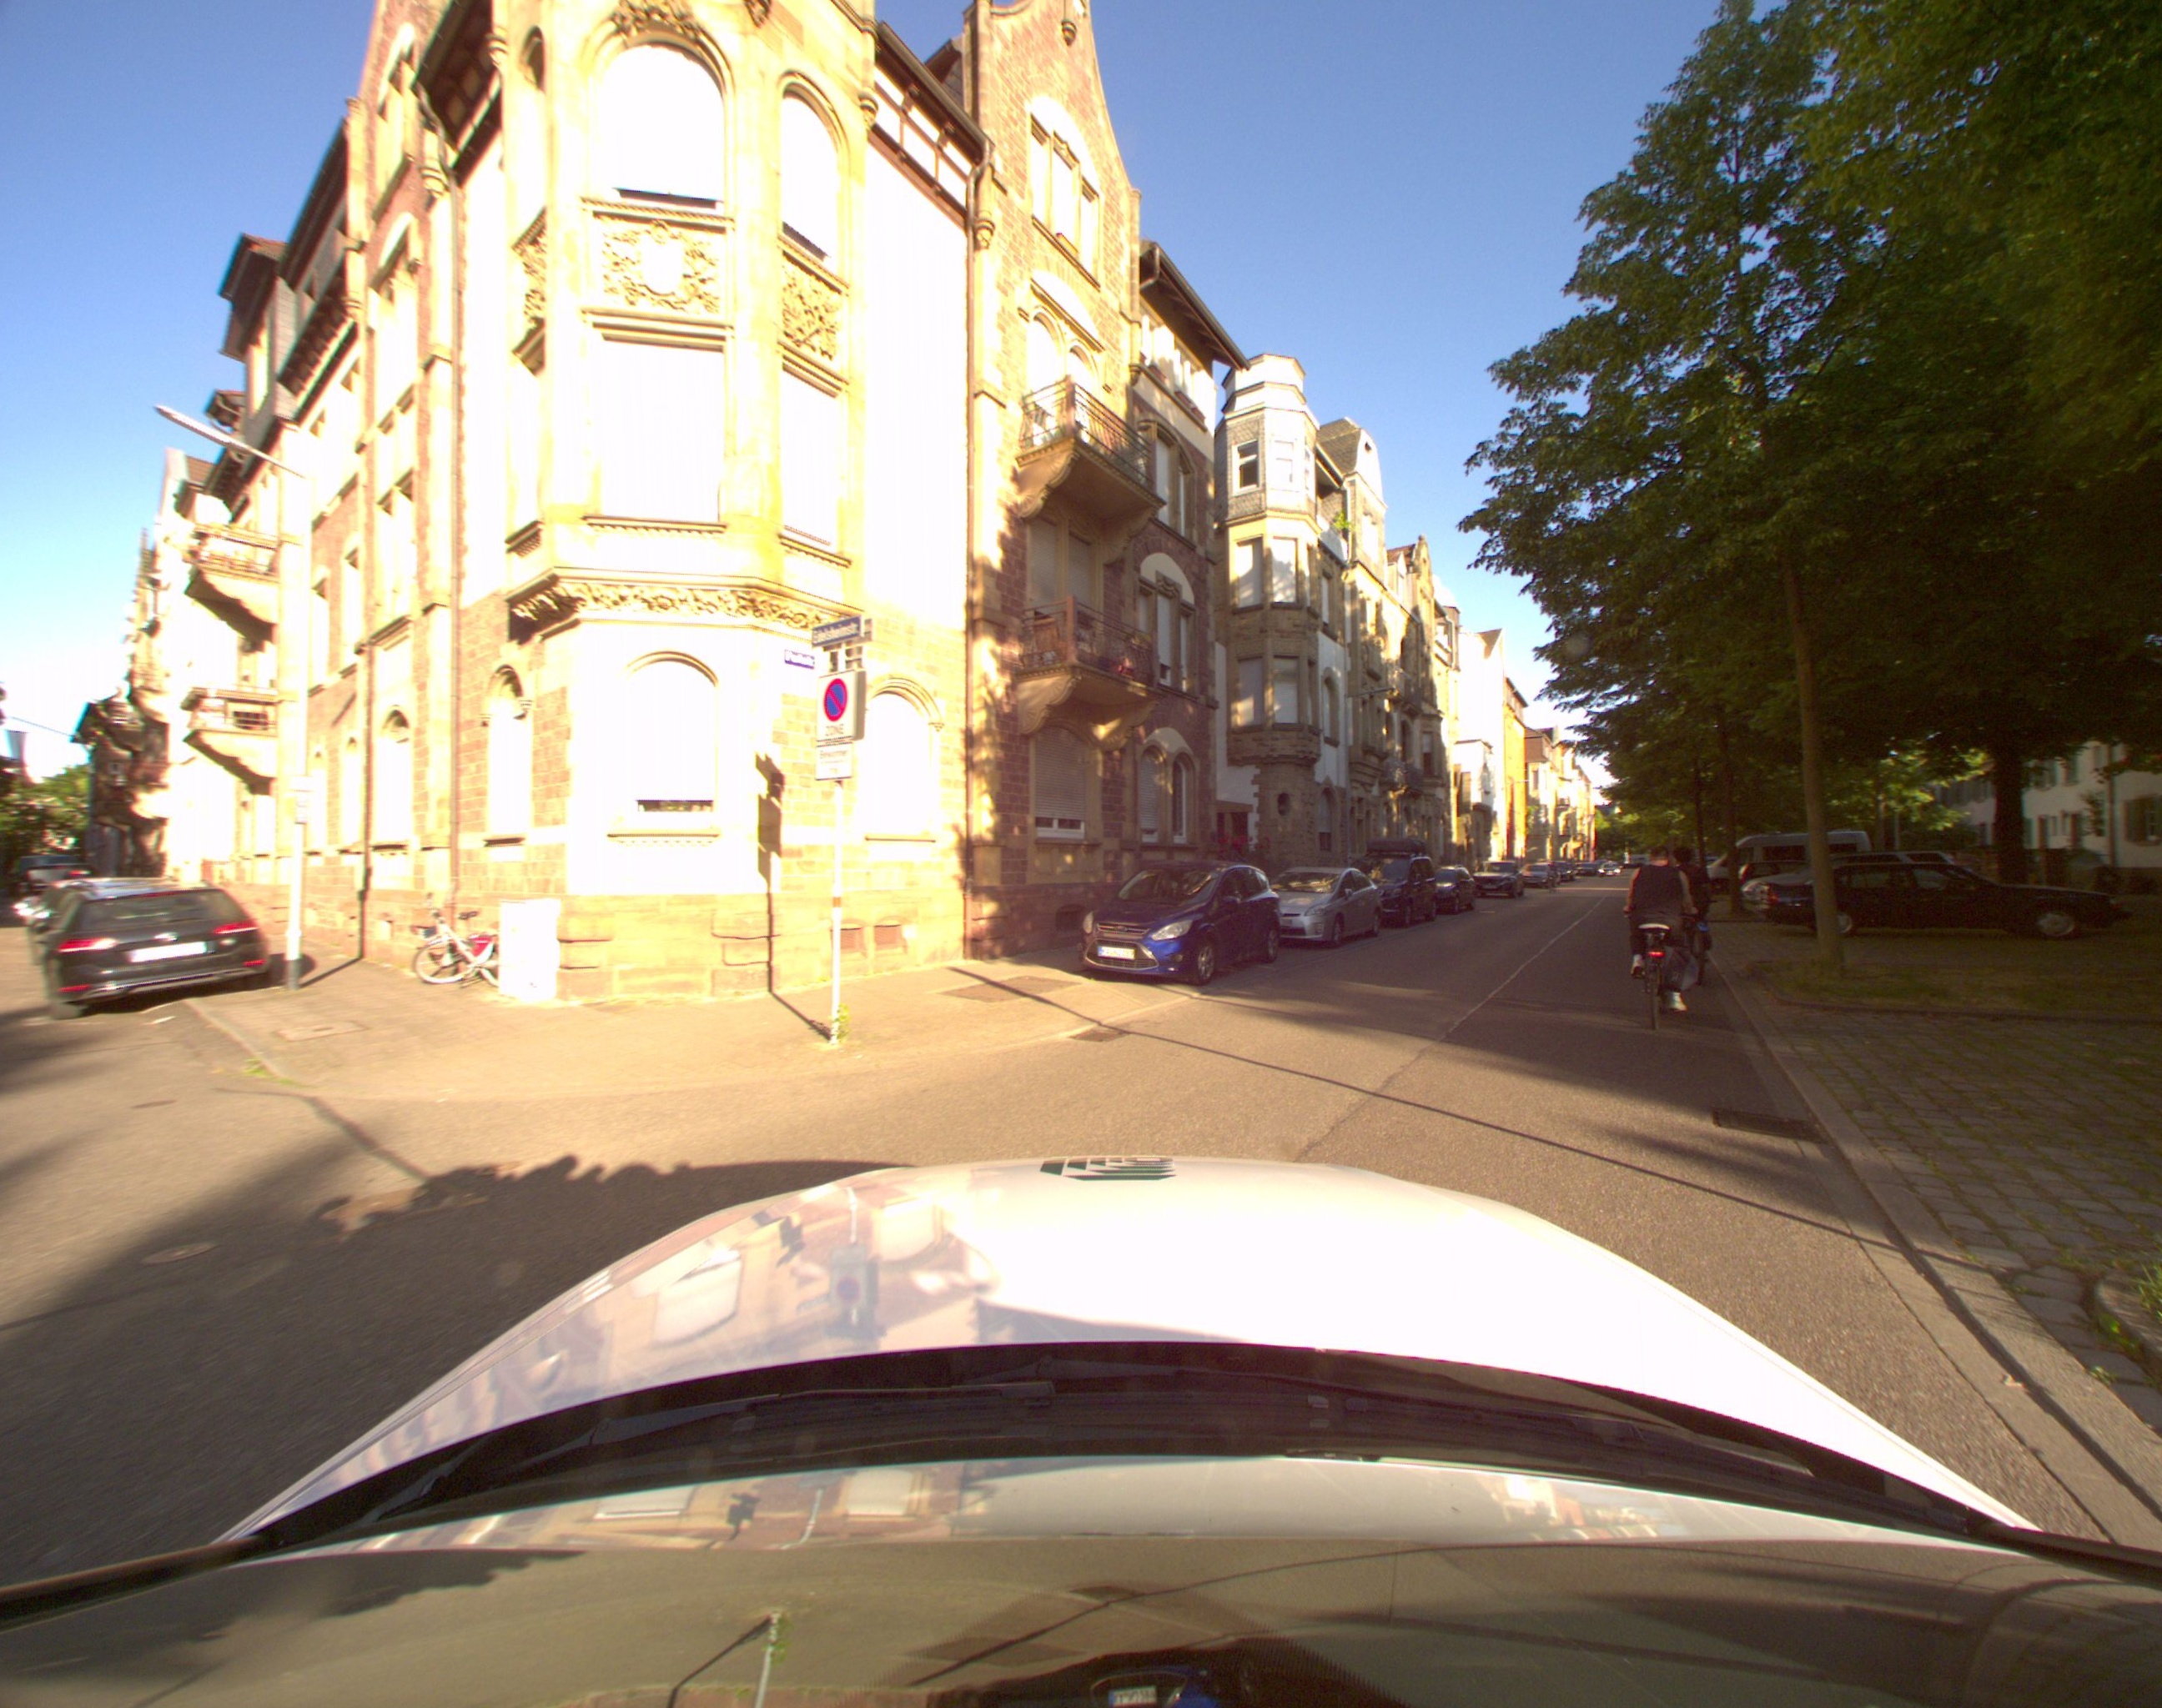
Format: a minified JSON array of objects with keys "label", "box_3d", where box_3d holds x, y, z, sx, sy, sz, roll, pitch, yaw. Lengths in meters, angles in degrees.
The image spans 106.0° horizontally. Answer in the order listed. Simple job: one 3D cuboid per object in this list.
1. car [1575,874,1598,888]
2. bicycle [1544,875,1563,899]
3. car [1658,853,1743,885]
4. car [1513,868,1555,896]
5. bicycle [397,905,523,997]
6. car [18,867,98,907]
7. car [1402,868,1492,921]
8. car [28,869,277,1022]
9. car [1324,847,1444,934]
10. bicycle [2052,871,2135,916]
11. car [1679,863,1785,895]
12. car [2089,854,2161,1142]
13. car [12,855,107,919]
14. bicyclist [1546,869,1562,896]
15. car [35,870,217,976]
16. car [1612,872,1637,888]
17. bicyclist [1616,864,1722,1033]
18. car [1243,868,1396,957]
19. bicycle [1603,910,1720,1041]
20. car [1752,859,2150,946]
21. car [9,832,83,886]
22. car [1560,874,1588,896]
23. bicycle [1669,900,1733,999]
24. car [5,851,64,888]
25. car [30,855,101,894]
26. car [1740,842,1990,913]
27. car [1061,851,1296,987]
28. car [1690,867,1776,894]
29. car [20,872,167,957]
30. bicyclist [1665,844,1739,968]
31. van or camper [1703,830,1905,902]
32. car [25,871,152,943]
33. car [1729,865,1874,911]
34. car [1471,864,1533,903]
[{"label":"car","box_3d":[54.577,2.909,87.915,1.974,1.486,4.025,0,-2,34]},{"label":"bicycle","box_3d":[24.099,1.676,41.515,0.745,1.178,2.637,-2,-2,32]},{"label":"car","box_3d":[67.962,1.736,89.502,7.261,3.283,2.237,-2,-4,36]},{"label":"car","box_3d":[27.682,1.698,49.683,1.738,1.517,4.140,4,1,35]},{"label":"bicycle","box_3d":[-7.552,1.143,9.897,1.556,0.998,0.519,0,-2,25]},{"label":"car","box_3d":[-40.931,1.300,32.573,3.948,1.515,1.820,0,-3,37]},{"label":"car","box_3d":[11.972,1.293,26.450,1.712,1.574,4.737,-1,-2,36]},{"label":"car","box_3d":[-11.955,1.010,10.421,3.948,1.581,1.754,0,-3,37]},{"label":"car","box_3d":[7.955,0.870,21.129,1.950,1.974,4.526,1,0,33]},{"label":"bicycle","box_3d":[32.816,1.247,26.439,0.793,1.399,2.015,0,-1,22]},{"label":"car","box_3d":[34.538,1.352,43.361,4.202,1.606,1.764,-2,-3,32]},{"label":"car","box_3d":[7.272,0.708,3.023,3.948,1.556,2.012,-2,-3,33]},{"label":"car","box_3d":[-34.604,1.091,27.573,3.948,2.004,1.820,-1,-3,37]},{"label":"bicyclist","box_3d":[24.158,1.437,41.607,0.658,1.345,1.067,-2,-2,32]},{"label":"car","box_3d":[-16.684,1.092,14.183,3.948,1.581,1.754,0,-3,37]},{"label":"car","box_3d":[53.879,2.624,80.772,1.878,1.486,4.408,0,-2,32]},{"label":"bicyclist","box_3d":[5.713,0.874,7.967,0.699,1.527,0.977,0,-2,28]},{"label":"car","box_3d":[4.945,1.050,16.445,1.713,1.499,4.483,1,0,33]},{"label":"bicycle","box_3d":[5.741,1.135,8.158,0.689,1.073,1.980,0,-2,28]},{"label":"car","box_3d":[16.188,0.943,15.655,4.846,1.442,1.954,-3,-4,33]},{"label":"car","box_3d":[-54.396,0.288,42.783,4.729,2.691,2.186,-1,-3,37]},{"label":"car","box_3d":[37.563,2.368,62.059,1.615,1.665,3.993,0,-2,34]},{"label":"bicycle","box_3d":[8.071,1.190,10.651,0.550,1.073,1.981,0,0,34]},{"label":"car","box_3d":[-67.923,1.008,52.827,4.729,2.237,2.186,-1,-3,37]},{"label":"car","box_3d":[-46.201,0.940,37.039,3.948,1.679,1.820,0,-3,37]},{"label":"car","box_3d":[20.570,0.668,21.702,4.432,1.670,1.955,-4,-2,33]},{"label":"car","box_3d":[1.645,0.870,12.146,1.713,1.622,4.285,1,-2,33]},{"label":"car","box_3d":[42.051,1.753,52.677,4.202,1.648,1.866,-2,-3,36]},{"label":"car","box_3d":[-21.026,1.198,17.307,3.948,1.581,1.754,0,-3,37]},{"label":"bicyclist","box_3d":[8.091,0.654,10.650,0.711,1.527,0.978,0,-3,34]},{"label":"van or camper","box_3d":[27.847,0.570,31.721,5.519,2.537,2.282,-3,-4,33]},{"label":"car","box_3d":[-24.527,1.248,20.093,3.948,1.581,1.754,0,-3,37]},{"label":"car","box_3d":[24.428,1.175,27.775,3.467,1.473,1.762,-2,-3,34]},{"label":"car","box_3d":[18.739,1.312,36.170,2.030,1.622,4.422,0,-2,33]}]
